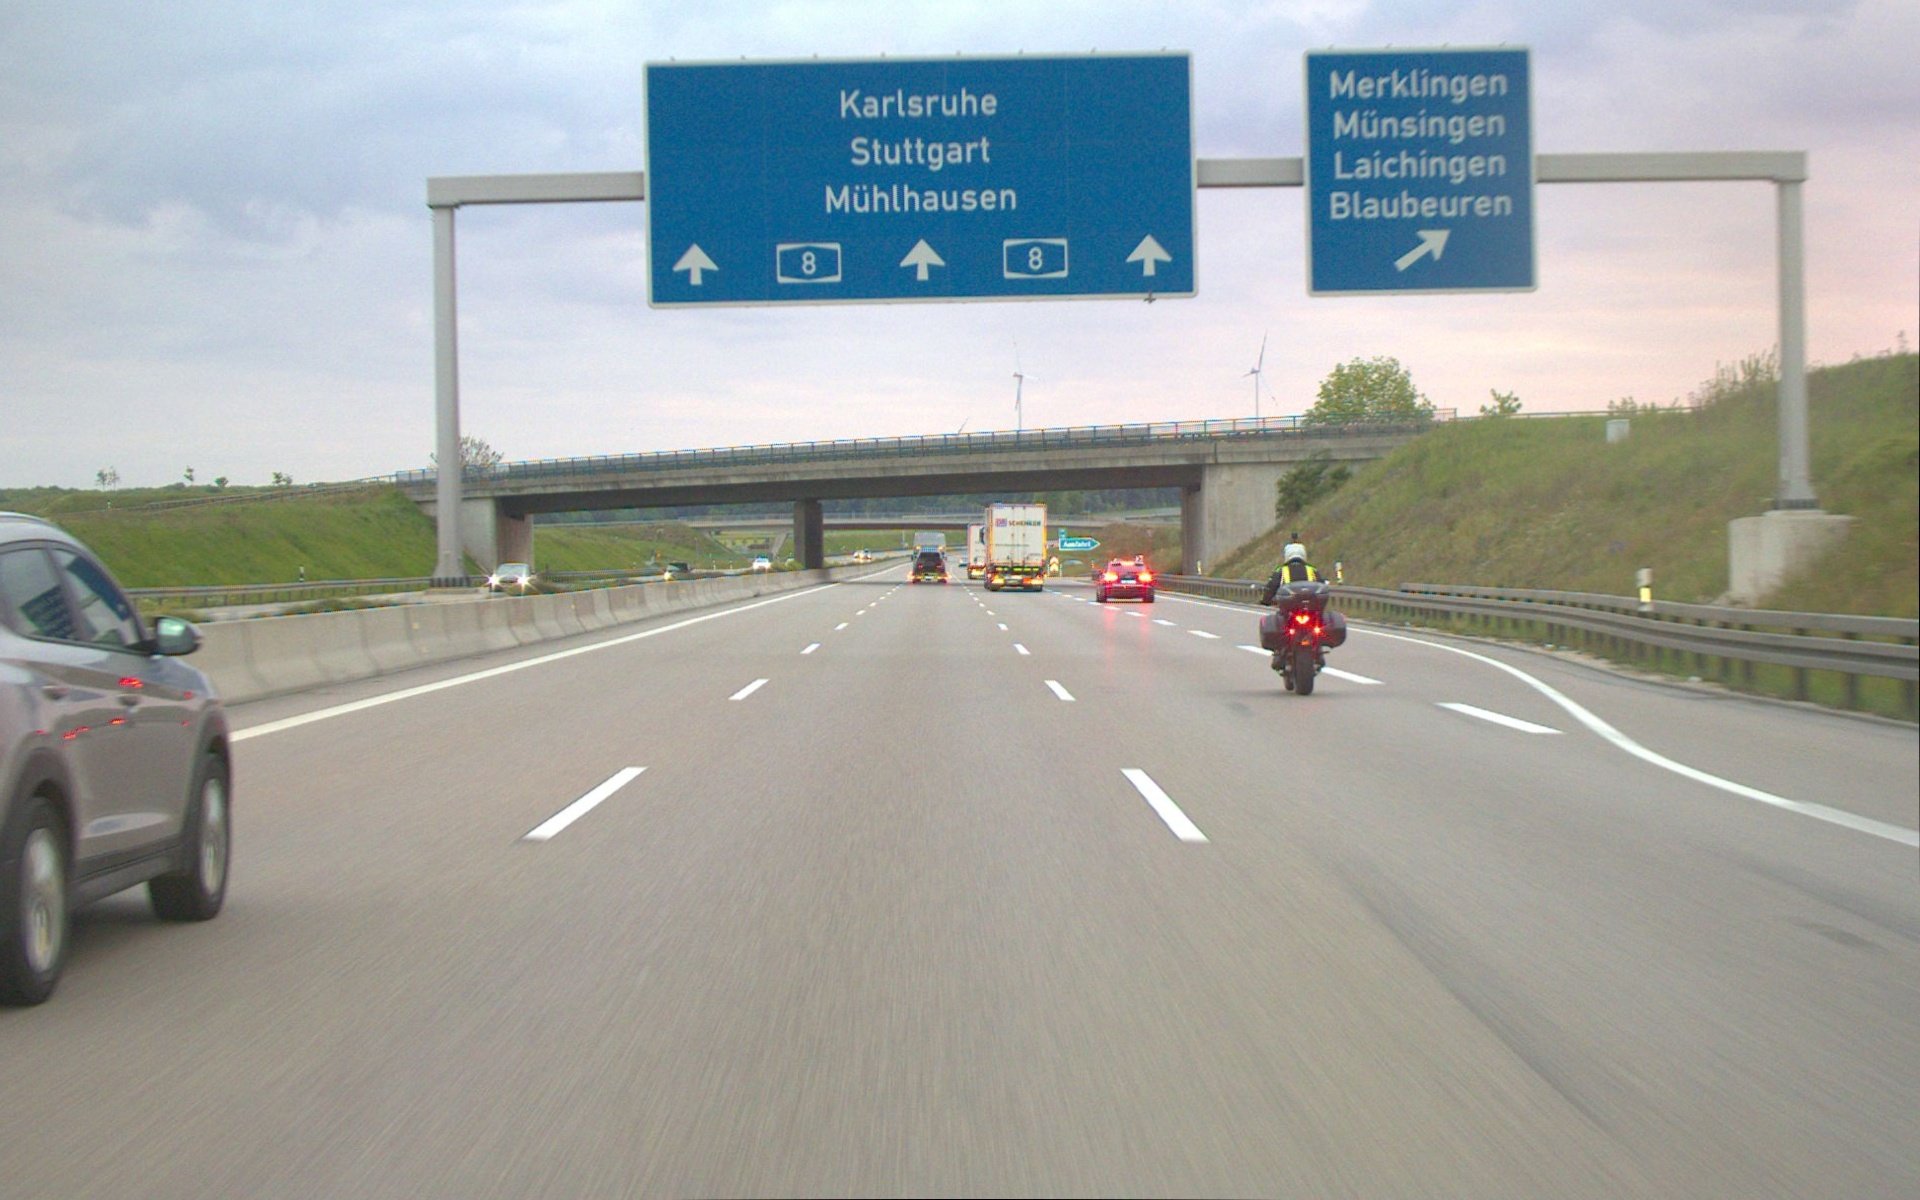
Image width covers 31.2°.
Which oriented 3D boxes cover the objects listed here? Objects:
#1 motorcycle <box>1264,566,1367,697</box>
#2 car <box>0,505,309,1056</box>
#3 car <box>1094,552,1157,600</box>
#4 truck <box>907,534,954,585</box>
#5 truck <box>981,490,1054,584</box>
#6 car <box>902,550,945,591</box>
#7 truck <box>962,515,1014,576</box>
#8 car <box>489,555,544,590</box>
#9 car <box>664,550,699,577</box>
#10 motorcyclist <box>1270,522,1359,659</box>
[{"bbox_3d":[3.923,0.326,38.074,0.902,1.342,2.349,0,2,0],"label":"motorcycle"},{"bbox_3d":[-3.879,0.512,12.881,1.852,1.687,5.512,0,1,0],"label":"car"},{"bbox_3d":[5.739,-0.850,119.734,1.918,1.574,4.000,-1,1,-1],"label":"car"},{"bbox_3d":[-1.947,-2.677,225.447,2.951,3.206,8.406,1,2,-1],"label":"truck"},{"bbox_3d":[2.622,-2.989,160.399,3.234,4.213,9.599,1,2,0],"label":"truck"},{"bbox_3d":[-2.221,-1.820,209.331,2.516,2.383,6.497,-1,1,-1],"label":"car"},{"bbox_3d":[2.011,-3.982,250.380,3.525,4.330,8.406,1,2,-1],"label":"truck"},{"bbox_3d":[-20.578,-1.277,159.773,1.993,1.597,5.200,1,0,-1],"label":"car"},{"bbox_3d":[-17.267,-2.252,213.102,1.819,1.623,4.000,0,1,0],"label":"car"},{"bbox_3d":[3.912,-0.118,38.010,0.866,1.482,1.168,1,1,1],"label":"motorcyclist"}]
